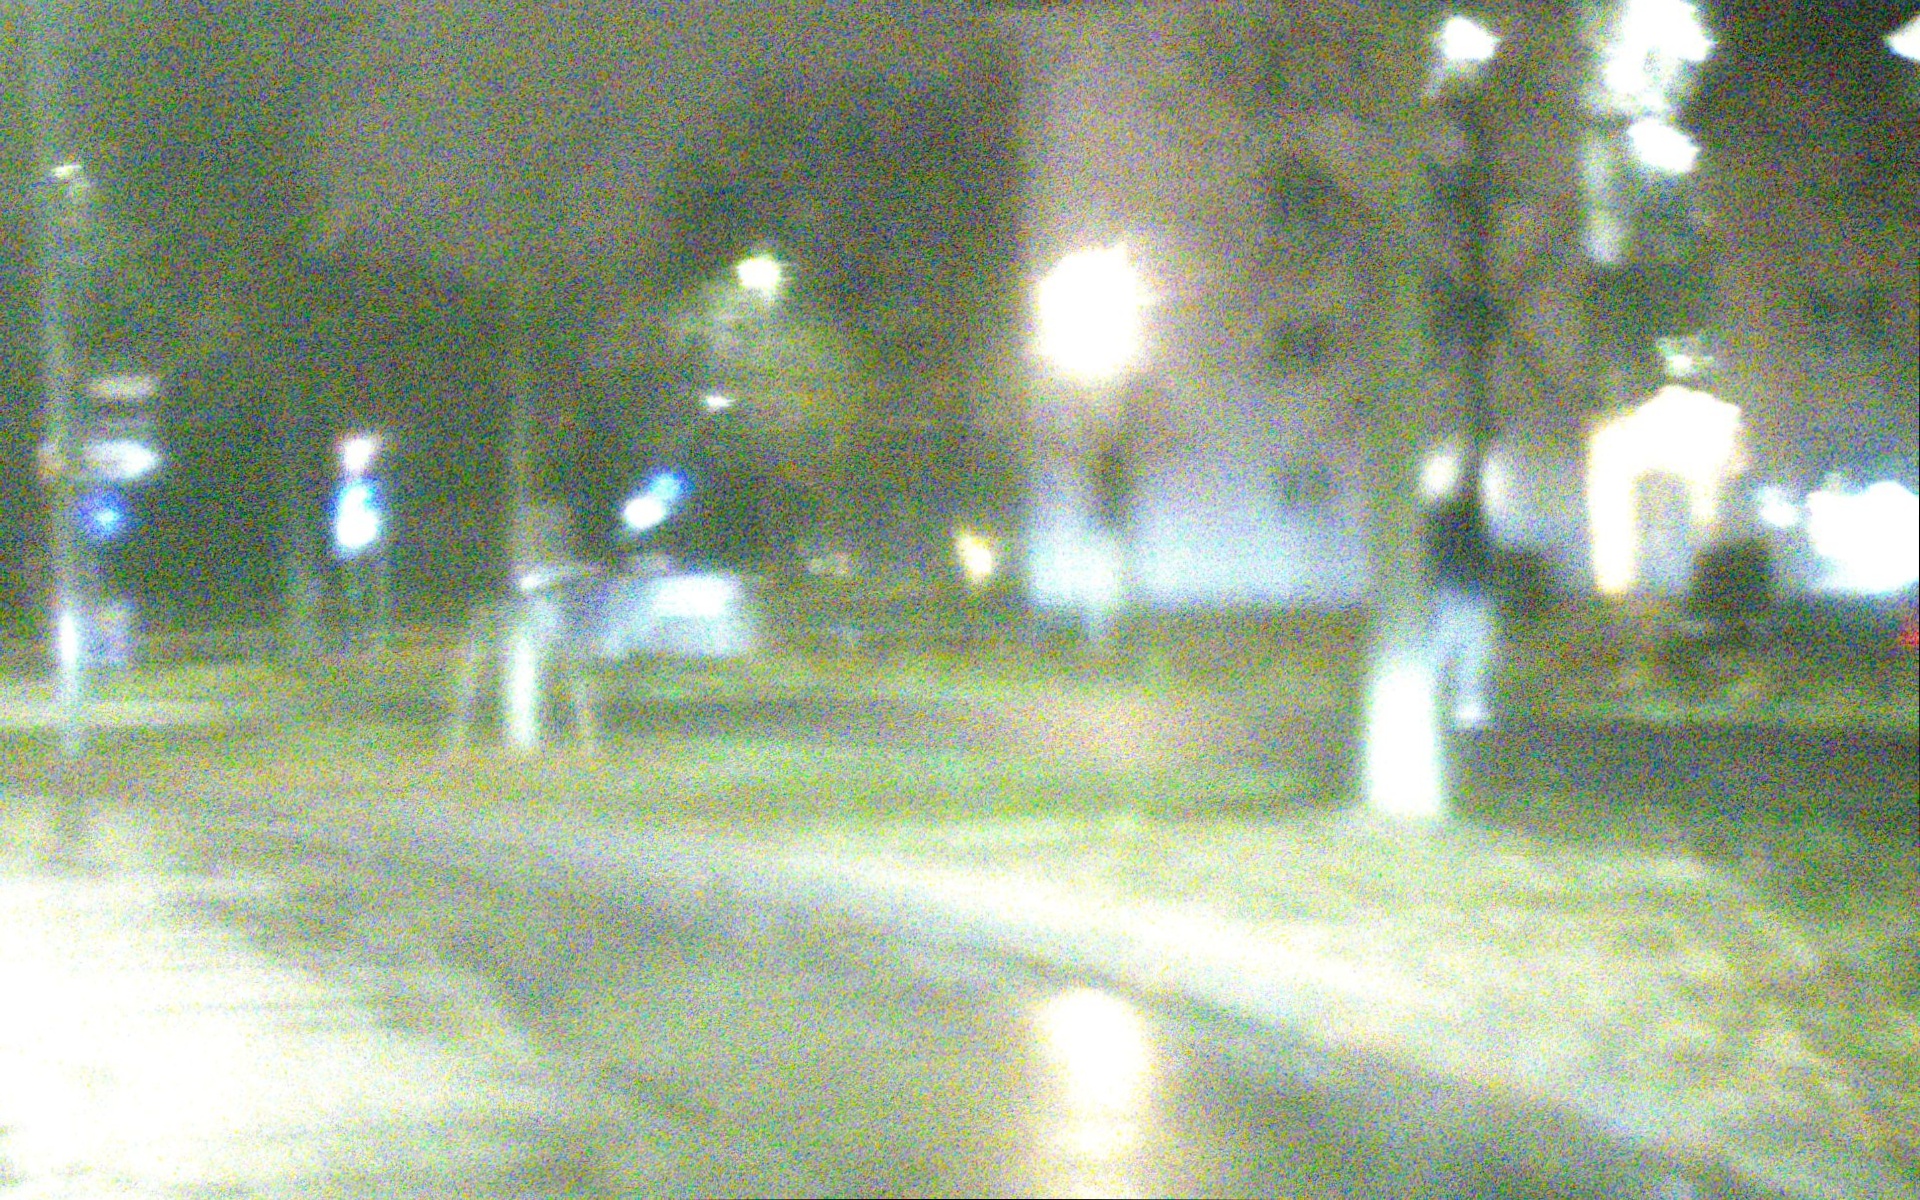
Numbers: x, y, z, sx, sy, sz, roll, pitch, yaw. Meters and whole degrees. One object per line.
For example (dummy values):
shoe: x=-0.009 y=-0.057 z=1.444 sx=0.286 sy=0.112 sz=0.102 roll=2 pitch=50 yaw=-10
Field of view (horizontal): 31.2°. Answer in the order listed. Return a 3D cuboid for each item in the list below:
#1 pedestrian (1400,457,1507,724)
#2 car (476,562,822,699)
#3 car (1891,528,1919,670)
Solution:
pedestrian: x=3.558 y=-0.073 z=24.816 sx=0.652 sy=1.895 sz=0.729 roll=0 pitch=1 yaw=-1
car: x=-3.986 y=0.364 z=44.042 sx=3.992 sy=1.678 sz=1.916 roll=0 pitch=1 yaw=25
car: x=11.177 y=-0.045 z=37.852 sx=1.717 sy=1.491 sz=3.909 roll=0 pitch=1 yaw=16
